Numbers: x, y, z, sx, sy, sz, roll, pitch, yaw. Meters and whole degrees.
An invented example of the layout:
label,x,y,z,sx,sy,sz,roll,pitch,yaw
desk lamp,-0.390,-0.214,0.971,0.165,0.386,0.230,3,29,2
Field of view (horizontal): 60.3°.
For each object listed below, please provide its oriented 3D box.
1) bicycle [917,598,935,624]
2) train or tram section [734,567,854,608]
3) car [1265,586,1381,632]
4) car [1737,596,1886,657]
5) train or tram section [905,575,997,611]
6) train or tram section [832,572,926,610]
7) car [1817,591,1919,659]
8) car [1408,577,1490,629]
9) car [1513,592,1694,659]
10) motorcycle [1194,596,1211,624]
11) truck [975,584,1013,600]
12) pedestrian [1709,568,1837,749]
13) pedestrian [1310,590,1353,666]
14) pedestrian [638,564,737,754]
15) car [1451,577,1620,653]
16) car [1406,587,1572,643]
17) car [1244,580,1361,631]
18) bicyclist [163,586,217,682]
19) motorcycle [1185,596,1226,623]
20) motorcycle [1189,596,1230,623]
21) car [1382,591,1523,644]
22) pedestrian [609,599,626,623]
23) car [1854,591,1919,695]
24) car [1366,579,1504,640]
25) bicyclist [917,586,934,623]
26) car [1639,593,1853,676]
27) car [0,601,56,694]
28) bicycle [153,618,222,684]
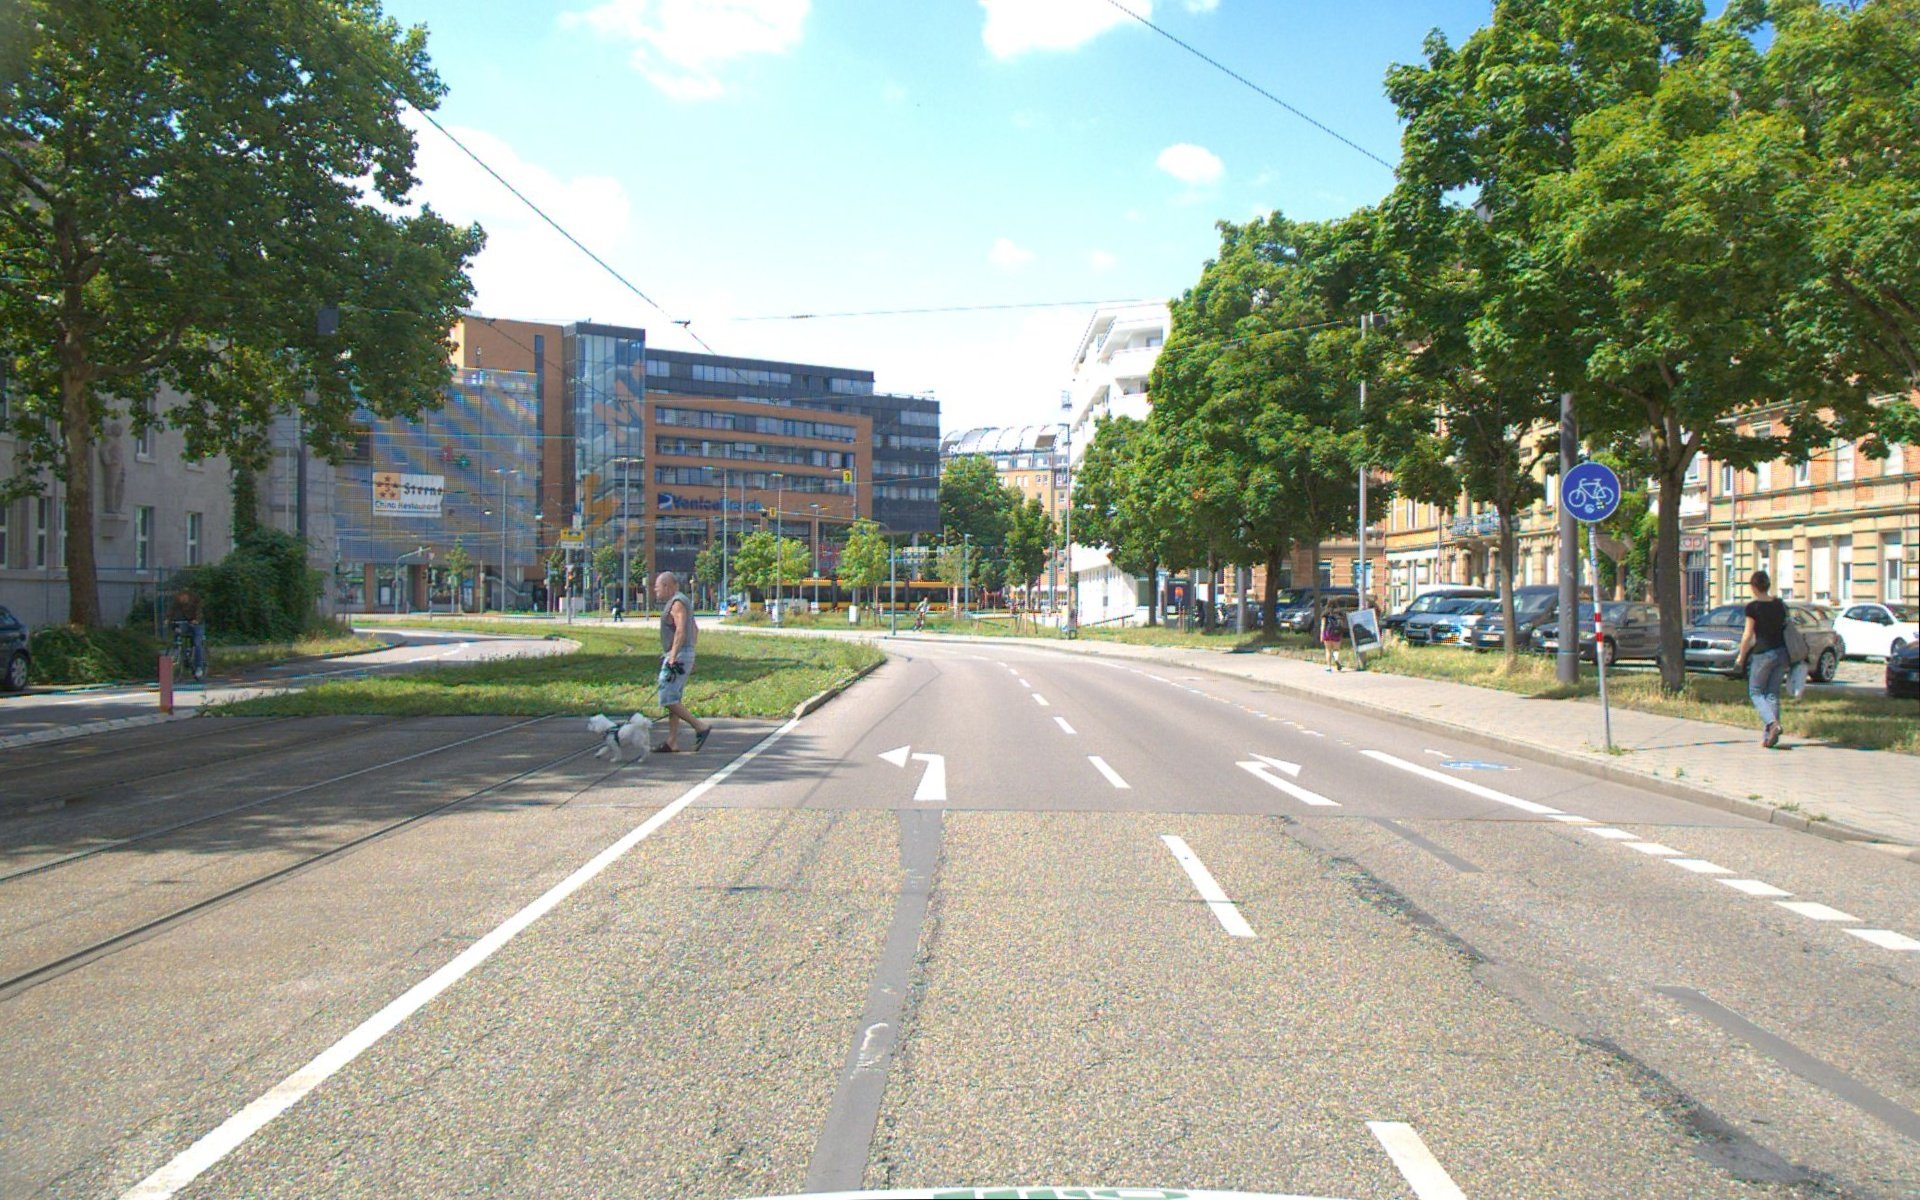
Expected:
label,x,y,z,sx,sy,sz,roll,pitch,yaw
bicycle,-1.744,0.555,84.333,0.679,1.264,1.841,-2,1,5
train or tram section,-16.091,-1.125,161.782,3.166,3.662,13.431,1,-1,39
car,13.937,0.355,63.534,4.112,1.685,1.900,1,0,-27
car,22.645,0.686,44.184,1.794,1.518,4.227,1,0,0
train or tram section,-0.908,-0.696,180.396,3.005,3.684,12.581,1,-1,37
train or tram section,-8.289,-0.909,171.237,3.009,3.666,10.933,1,-1,40
car,22.456,0.593,39.501,1.794,1.518,4.227,1,0,0
car,22.031,0.154,74.748,2.067,2.217,5.393,1,0,0
car,14.394,0.583,36.895,4.223,1.404,1.828,2,-1,-37
motorcycle,10.495,0.418,71.619,0.624,1.187,1.908,0,0,12
truck,4.821,-1.123,232.373,5.428,2.122,1.987,1,-1,43
pedestrian,8.185,0.571,16.697,0.686,1.734,1.044,-3,0,-1
pedestrian,8.096,0.609,36.040,0.686,1.620,0.905,1,-1,-1
pedestrian,-2.548,0.544,15.541,0.765,1.734,0.702,1,-1,1
car,14.182,0.385,40.673,4.318,1.771,1.828,2,-1,-37
car,14.276,0.412,44.563,4.638,1.404,1.830,2,0,-35
car,13.797,0.230,66.523,4.568,1.961,1.896,1,-1,-32
bicyclist,-14.101,0.614,30.293,0.749,1.734,0.780,1,-1,-17
motorcycle,11.154,0.422,75.104,1.747,1.187,0.639,0,0,-2
motorcycle,11.182,0.418,74.248,1.747,1.187,0.639,0,0,-2
car,14.238,0.517,47.776,4.039,1.430,1.829,2,-1,-36
pedestrian,-25.051,0.784,120.918,0.897,1.732,0.808,-1,0,24
car,14.702,0.627,23.240,3.942,1.404,1.943,1,0,-29
car,14.644,0.294,50.949,4.094,1.771,1.833,1,-1,-31
bicyclist,-1.765,0.216,84.352,0.679,1.856,0.957,-2,1,7
car,14.518,0.636,30.488,4.223,1.404,1.828,2,-1,-37
car,-15.728,0.725,24.956,1.887,1.393,4.316,2,0,-2
bicycle,-14.086,0.910,30.217,0.778,1.129,2.266,1,0,-16
